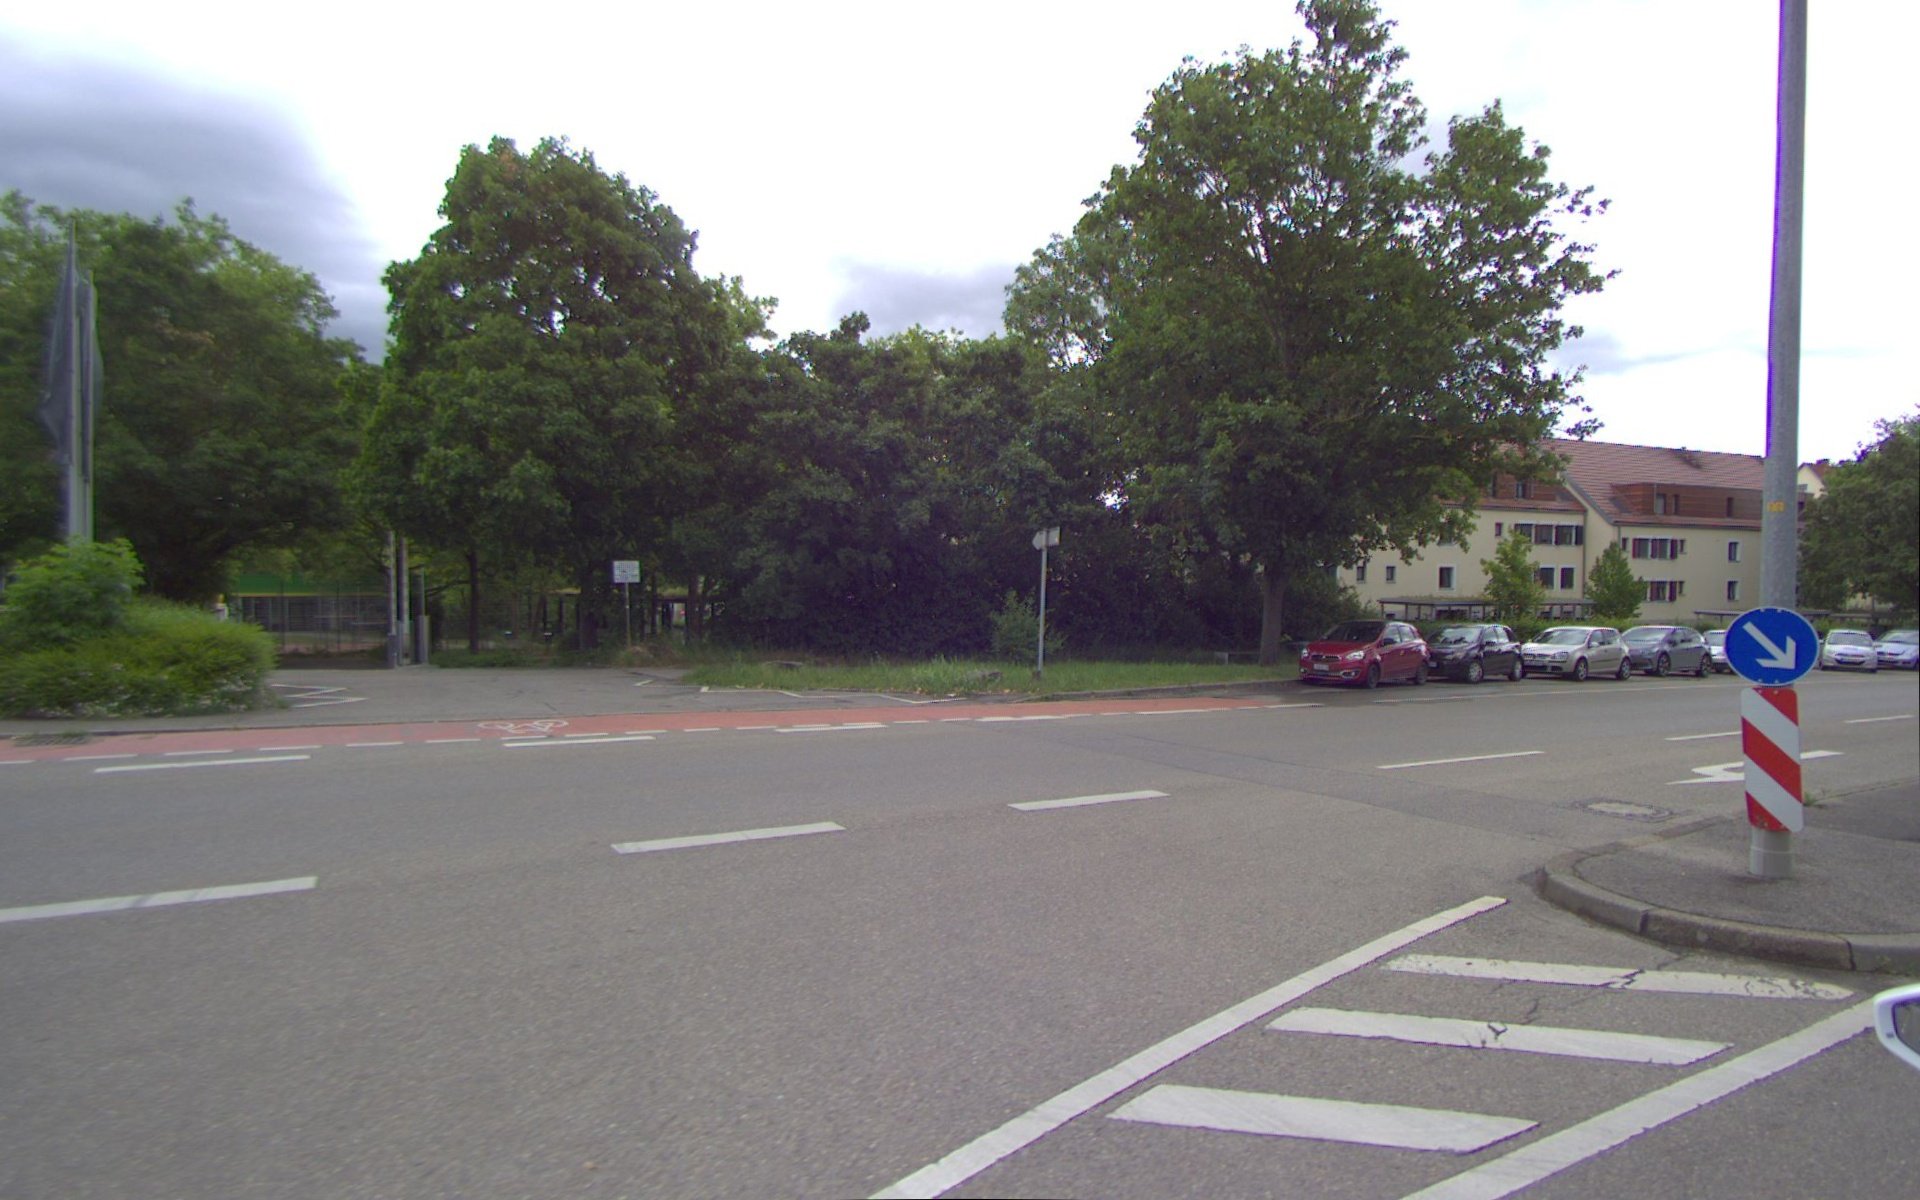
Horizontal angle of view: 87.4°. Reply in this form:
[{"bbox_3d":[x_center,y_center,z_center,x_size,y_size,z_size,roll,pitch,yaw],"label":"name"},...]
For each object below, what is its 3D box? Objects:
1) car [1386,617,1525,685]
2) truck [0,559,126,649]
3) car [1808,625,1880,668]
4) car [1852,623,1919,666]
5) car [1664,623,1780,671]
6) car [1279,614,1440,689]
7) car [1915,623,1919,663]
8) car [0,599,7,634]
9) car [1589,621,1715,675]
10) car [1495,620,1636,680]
[{"bbox_3d":[12.770,1.256,25.794,3.970,1.527,1.858,2,0,-42],"label":"car"},{"bbox_3d":[-32.913,0.084,37.006,2.683,3.009,6.733,2,0,-35],"label":"truck"},{"bbox_3d":[34.250,1.768,39.009,1.852,1.527,3.983,1,0,38],"label":"car"},{"bbox_3d":[38.571,1.832,40.965,3.947,1.618,1.869,3,0,-26],"label":"car"},{"bbox_3d":[26.142,1.571,34.444,3.955,1.527,1.865,1,0,-31],"label":"car"},{"bbox_3d":[9.336,1.140,23.358,3.856,1.527,1.859,1,1,-40],"label":"car"},{"bbox_3d":[43.192,1.951,43.039,4.332,1.689,1.869,3,0,-26],"label":"car"},{"bbox_3d":[-42.593,0.654,41.815,3.961,1.429,1.980,2,0,-36],"label":"car"},{"bbox_3d":[21.778,1.482,31.602,3.957,1.527,1.864,1,1,-33],"label":"car"},{"bbox_3d":[17.099,1.374,28.312,4.015,1.527,1.863,1,1,-34],"label":"car"}]
